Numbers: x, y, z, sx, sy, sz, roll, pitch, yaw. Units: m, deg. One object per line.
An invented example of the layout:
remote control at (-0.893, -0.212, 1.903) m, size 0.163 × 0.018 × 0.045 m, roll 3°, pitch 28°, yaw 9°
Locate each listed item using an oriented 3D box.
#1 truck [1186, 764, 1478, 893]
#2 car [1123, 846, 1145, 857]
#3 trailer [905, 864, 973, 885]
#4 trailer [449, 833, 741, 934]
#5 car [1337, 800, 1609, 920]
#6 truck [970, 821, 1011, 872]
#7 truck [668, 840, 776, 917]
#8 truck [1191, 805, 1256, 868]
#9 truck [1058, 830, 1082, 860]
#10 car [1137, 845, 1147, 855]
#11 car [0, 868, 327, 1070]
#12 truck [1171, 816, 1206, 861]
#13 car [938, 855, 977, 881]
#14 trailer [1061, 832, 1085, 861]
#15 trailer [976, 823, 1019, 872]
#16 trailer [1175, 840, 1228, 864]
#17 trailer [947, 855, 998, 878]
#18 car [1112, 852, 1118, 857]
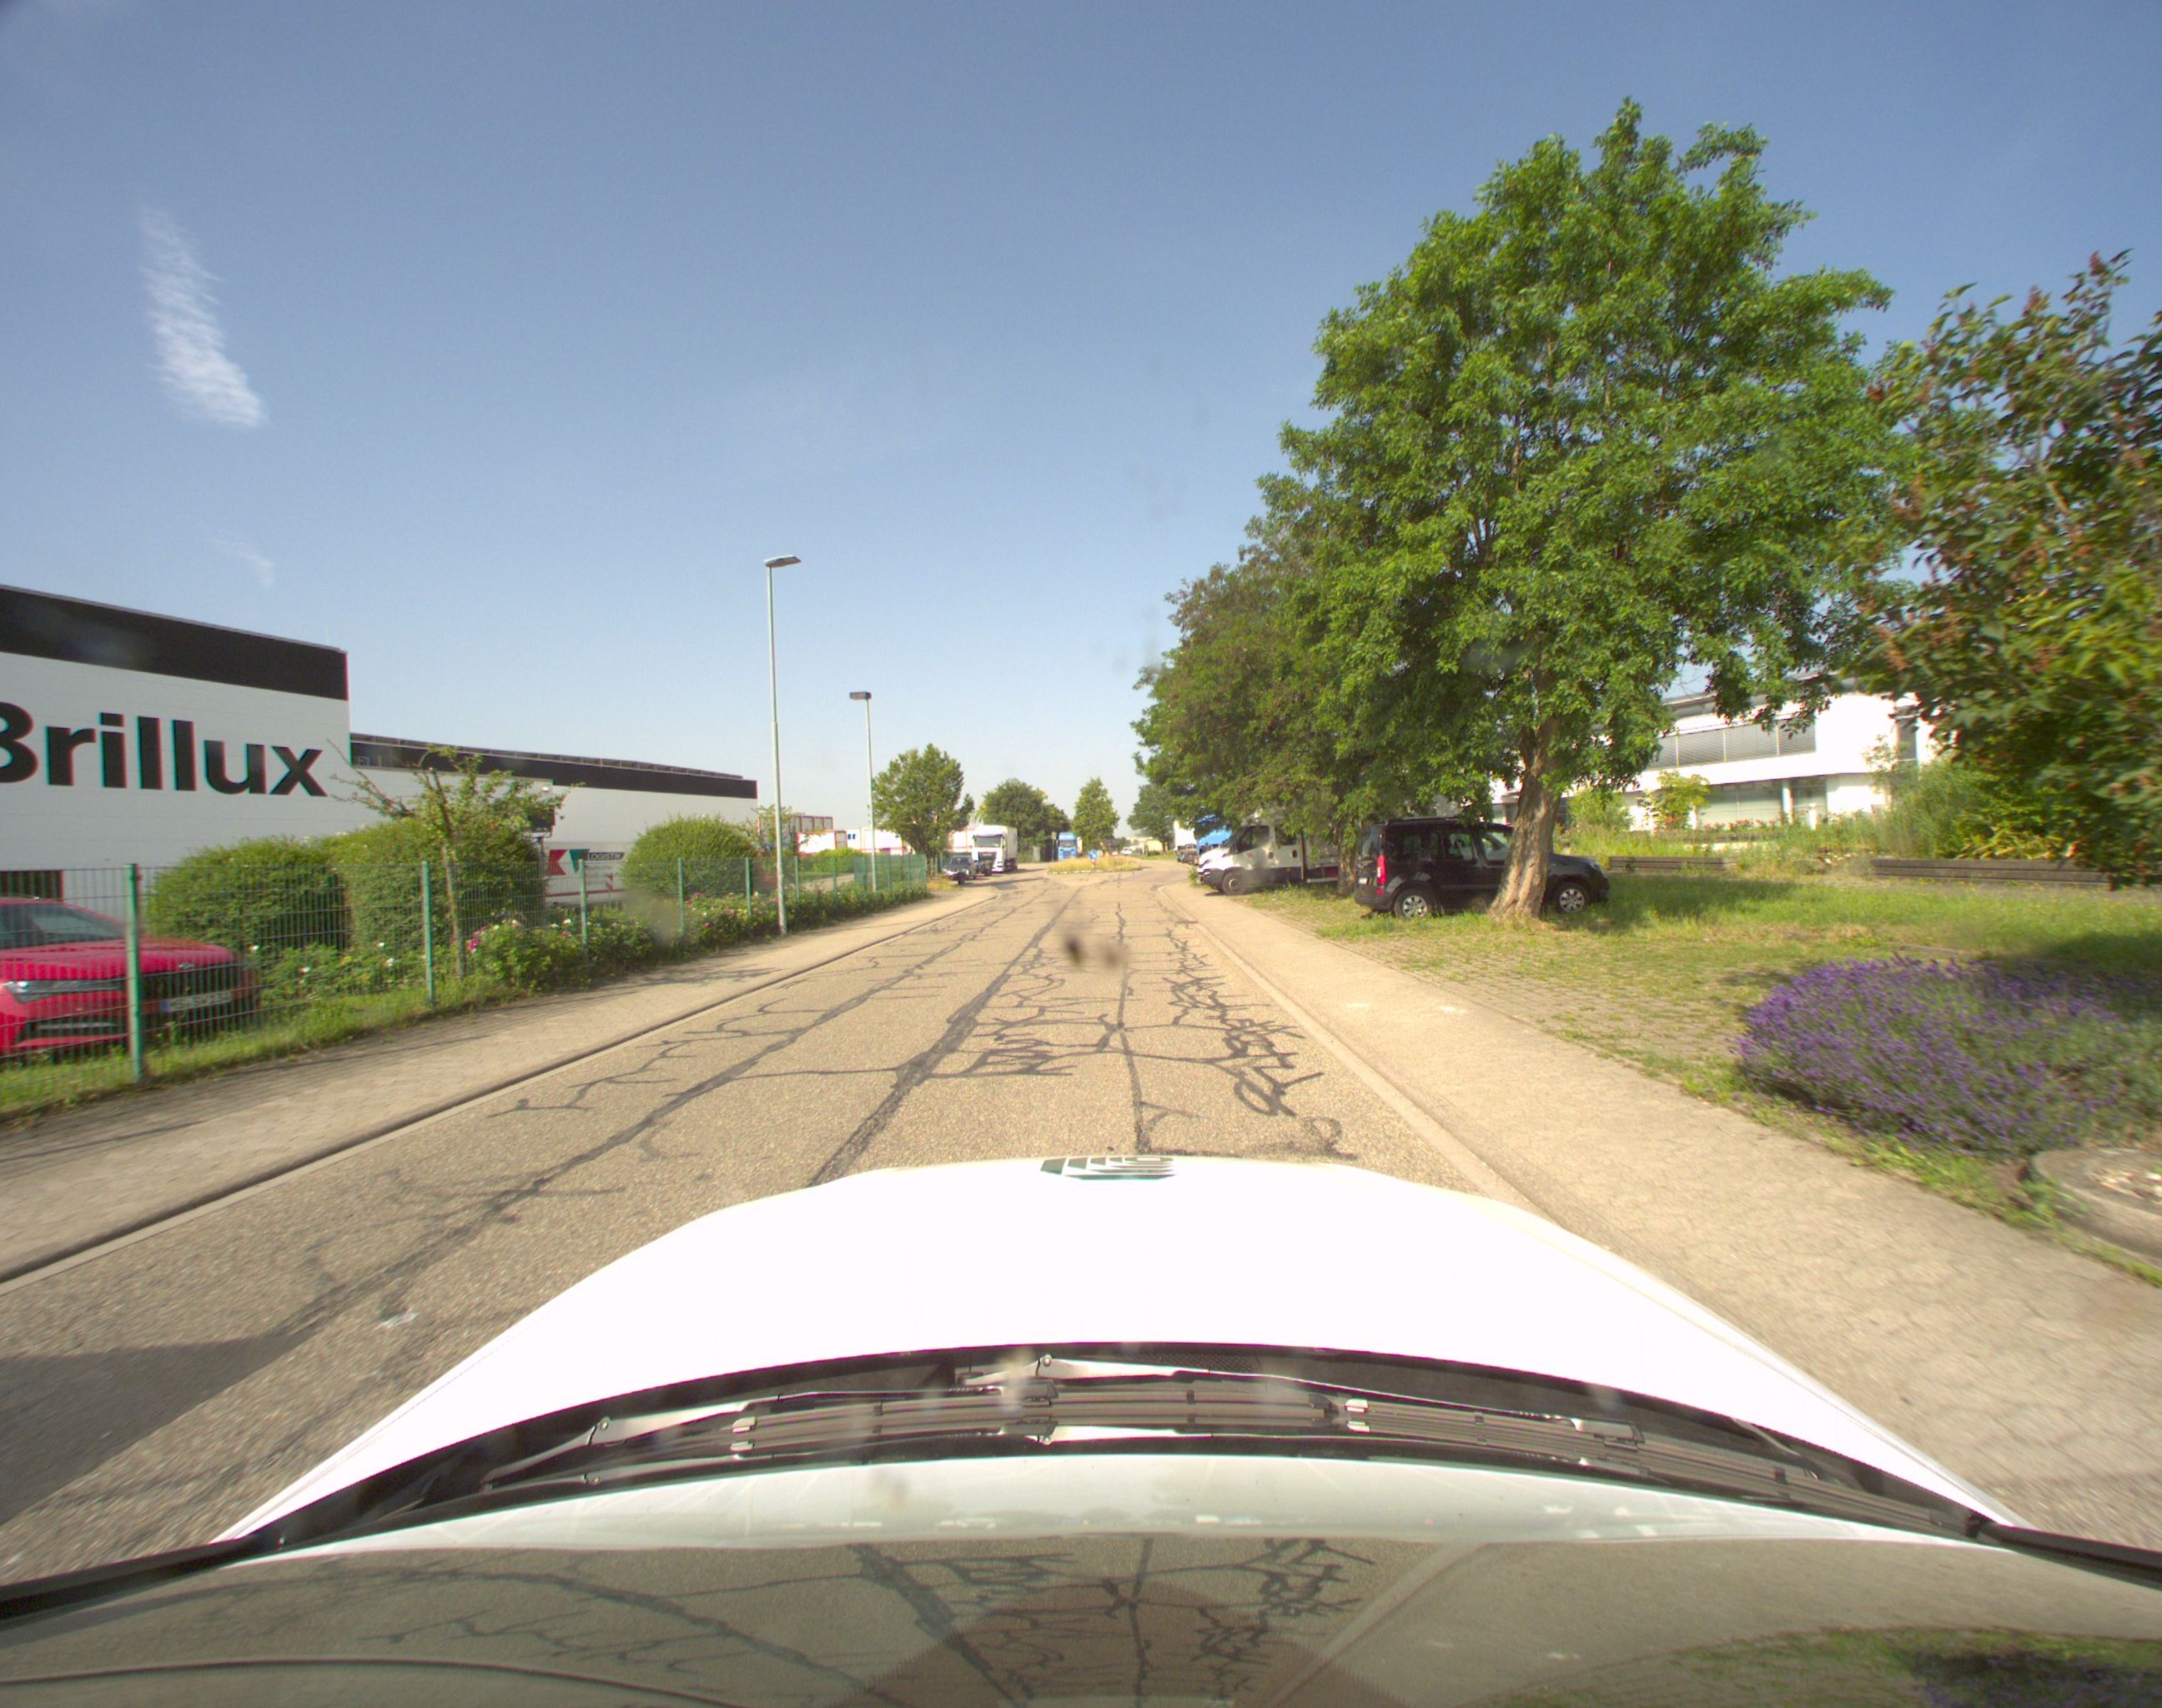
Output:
truck at (7.609, -0.750, 25.535) m, size 8.179 × 3.370 × 2.742 m, roll -3°, pitch -1°, yaw 1°
car at (13.785, -0.750, 211.756) m, size 5.736 × 2.734 × 2.005 m, roll -1°, pitch -1°, yaw 8°
trailer at (-7.903, 1.109, 46.161) m, size 2.538 × 0.925 × 6.711 m, roll 1°, pitch 0°, yaw 1°
trailer at (-22.491, 1.259, 39.590) m, size 2.462 × 4.042 × 13.952 m, roll -1°, pitch -1°, yaw 18°
car at (6.982, 0.108, 14.899) m, size 3.970 × 1.838 × 2.002 m, roll -3°, pitch 0°, yaw 3°
truck at (-7.249, -0.573, 65.678) m, size 2.699 × 3.922 × 4.298 m, roll -1°, pitch -1°, yaw 2°
truck at (-20.282, 1.355, 46.342) m, size 2.493 × 4.071 × 5.568 m, roll -1°, pitch -1°, yaw 17°
truck at (9.378, -1.029, 54.835) m, size 2.876 × 3.535 × 9.762 m, roll -6°, pitch -1°, yaw 3°
truck at (-1.408, -1.126, 109.943) m, size 2.814 × 3.826 × 9.677 m, roll -1°, pitch -1°, yaw 2°
car at (11.239, -0.776, 150.356) m, size 1.785 × 1.750 × 4.001 m, roll -1°, pitch -1°, yaw 2°
car at (-9.827, 1.032, 7.154) m, size 4.520 × 1.444 × 1.953 m, roll -4°, pitch 0°, yaw 1°
truck at (10.346, -1.452, 78.780) m, size 2.735 × 3.981 × 4.003 m, roll -5°, pitch 0°, yaw 2°
car at (-7.922, 0.854, 52.744) m, size 1.689 × 1.561 × 4.338 m, roll 0°, pitch 0°, yaw 2°
trailer at (-1.051, -1.002, 119.138) m, size 2.820 × 3.843 × 12.041 m, roll -1°, pitch -1°, yaw 2°
trailer at (-7.097, -0.494, 70.163) m, size 2.689 × 3.922 × 7.578 m, roll -1°, pitch -1°, yaw 2°
trailer at (10.050, -0.177, 69.718) m, size 2.735 × 1.574 × 16.182 m, roll -5°, pitch 0°, yaw 3°
trailer at (-7.804, 0.899, 59.069) m, size 2.669 × 1.453 × 5.082 m, roll -2°, pitch 0°, yaw 4°
car at (10.692, 0.216, 258.751) m, size 1.712 × 1.661 × 3.823 m, roll -1°, pitch -1°, yaw 1°
